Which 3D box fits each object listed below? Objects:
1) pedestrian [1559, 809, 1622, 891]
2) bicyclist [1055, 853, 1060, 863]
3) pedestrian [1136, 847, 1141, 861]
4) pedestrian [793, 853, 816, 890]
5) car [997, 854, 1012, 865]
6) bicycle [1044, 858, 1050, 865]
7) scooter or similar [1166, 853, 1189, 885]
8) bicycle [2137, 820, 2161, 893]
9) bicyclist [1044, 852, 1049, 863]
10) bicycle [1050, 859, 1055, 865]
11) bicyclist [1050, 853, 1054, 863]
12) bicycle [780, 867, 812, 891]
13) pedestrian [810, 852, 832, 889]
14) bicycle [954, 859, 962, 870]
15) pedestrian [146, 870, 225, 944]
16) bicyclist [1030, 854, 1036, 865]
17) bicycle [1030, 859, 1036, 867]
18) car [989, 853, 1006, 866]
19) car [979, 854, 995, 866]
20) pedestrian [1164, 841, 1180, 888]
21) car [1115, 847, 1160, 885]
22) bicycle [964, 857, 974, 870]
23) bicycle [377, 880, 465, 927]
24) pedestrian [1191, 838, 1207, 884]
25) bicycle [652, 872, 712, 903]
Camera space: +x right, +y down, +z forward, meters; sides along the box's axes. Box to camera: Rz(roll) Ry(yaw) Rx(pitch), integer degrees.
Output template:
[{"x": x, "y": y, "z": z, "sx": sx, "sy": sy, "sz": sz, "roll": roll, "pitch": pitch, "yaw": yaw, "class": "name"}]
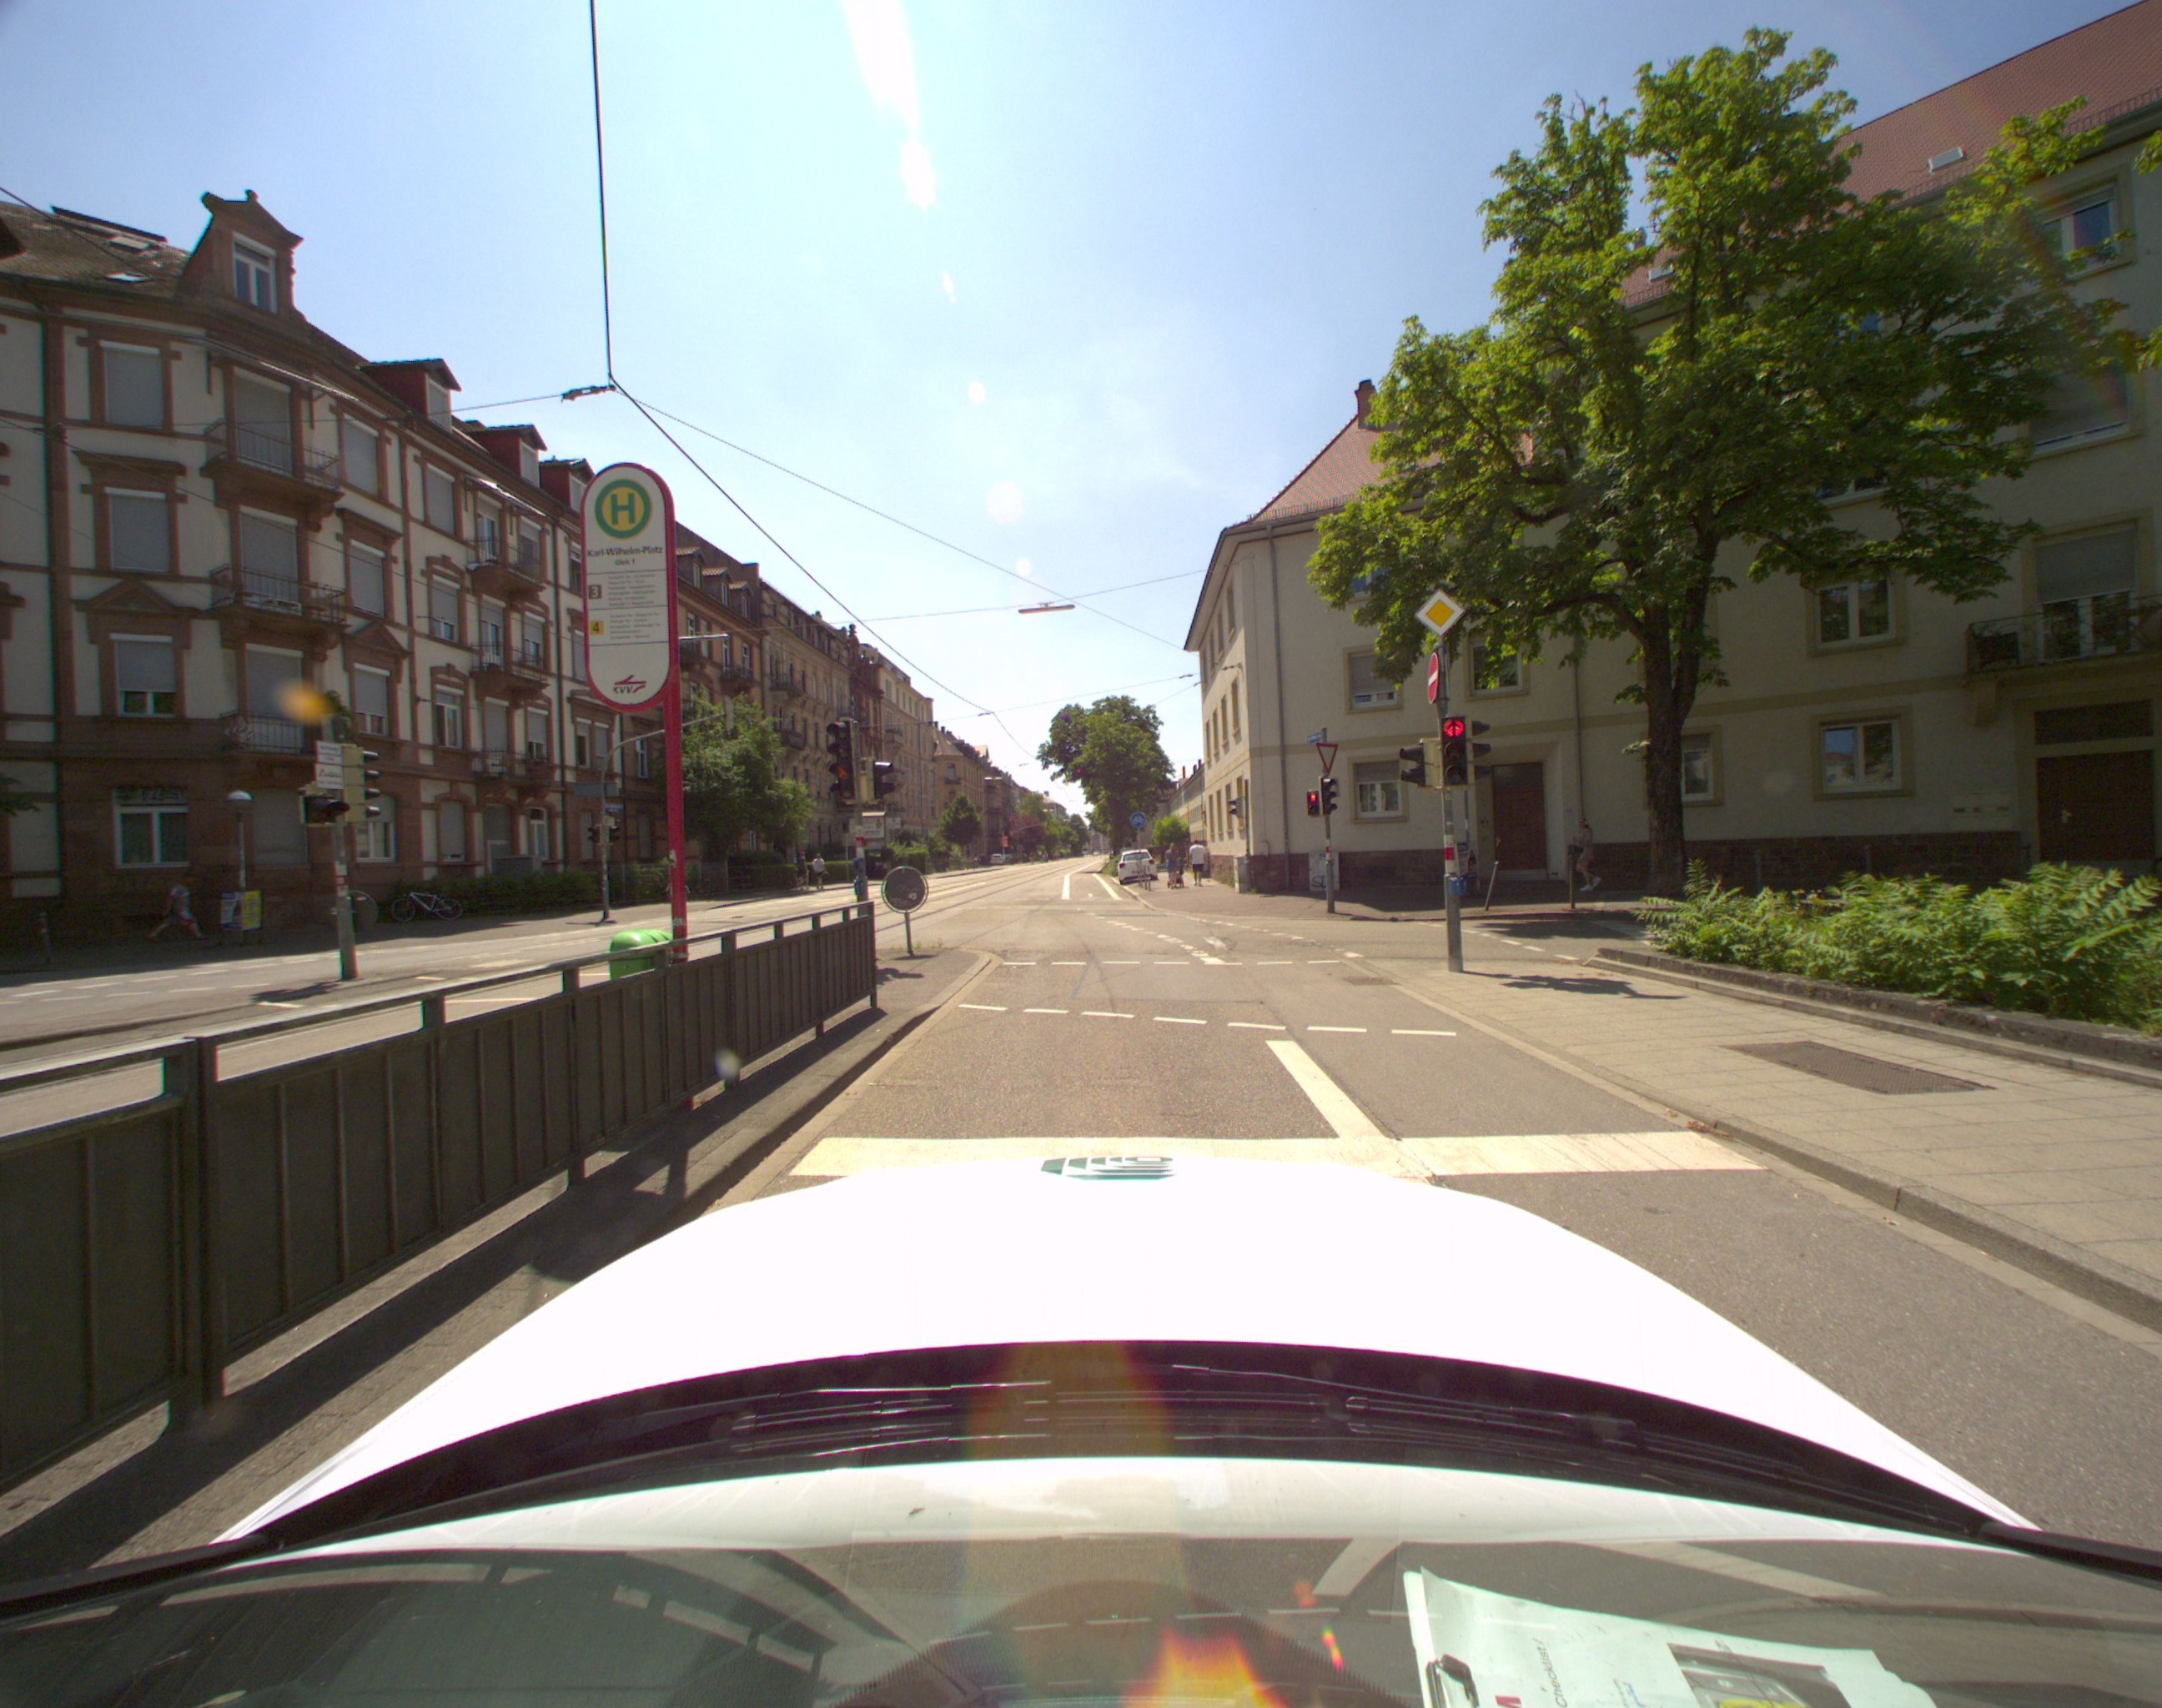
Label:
[{"x": 11.422, "y": -0.089, "z": 18.287, "sx": 1.043, "sy": 1.690, "sz": 0.658, "roll": -6, "pitch": 3, "yaw": 32, "class": "pedestrian"}, {"x": -4.505, "y": 0.738, "z": 157.037, "sx": 0.724, "sy": 1.818, "sz": 1.080, "roll": 0, "pitch": -1, "yaw": 3, "class": "bicyclist"}, {"x": 6.821, "y": 0.015, "z": 96.029, "sx": 0.519, "sy": 1.562, "sz": 0.573, "roll": -2, "pitch": 0, "yaw": 1, "class": "pedestrian"}, {"x": -13.856, "y": 0.855, "z": 40.800, "sx": 0.813, "sy": 1.822, "sz": 0.873, "roll": 0, "pitch": 1, "yaw": 0, "class": "pedestrian"}, {"x": -11.661, "y": 0.872, "z": 124.328, "sx": 1.912, "sy": 1.715, "sz": 4.001, "roll": 0, "pitch": -1, "yaw": 2, "class": "car"}, {"x": -5.653, "y": 1.298, "z": 134.926, "sx": 0.724, "sy": 1.123, "sz": 2.087, "roll": 0, "pitch": -1, "yaw": 4, "class": "bicycle"}, {"x": 3.566, "y": 0.535, "z": 30.027, "sx": 0.552, "sy": 1.155, "sz": 1.211, "roll": -1, "pitch": -1, "yaw": 20, "class": "scooter or similar"}, {"x": 17.009, "y": 0.022, "z": 12.082, "sx": 0.527, "sy": 1.104, "sz": 1.589, "roll": -2, "pitch": 0, "yaw": -34, "class": "bicycle"}, {"x": -5.651, "y": 0.604, "z": 135.017, "sx": 0.724, "sy": 1.768, "sz": 1.080, "roll": 0, "pitch": -1, "yaw": 3, "class": "bicyclist"}, {"x": -5.552, "y": 1.467, "z": 157.165, "sx": 0.724, "sy": 1.123, "sz": 2.087, "roll": 0, "pitch": -1, "yaw": 4, "class": "bicycle"}, {"x": -5.574, "y": 0.748, "z": 157.107, "sx": 0.724, "sy": 1.818, "sz": 1.080, "roll": 0, "pitch": -1, "yaw": 3, "class": "bicyclist"}, {"x": -14.392, "y": 1.255, "z": 41.255, "sx": 0.936, "sy": 1.136, "sz": 2.767, "roll": 0, "pitch": -1, "yaw": -7, "class": "bicycle"}, {"x": -13.042, "y": 0.843, "z": 40.895, "sx": 0.813, "sy": 1.822, "sz": 0.873, "roll": 0, "pitch": 1, "yaw": 0, "class": "pedestrian"}, {"x": -12.155, "y": 1.029, "z": 80.498, "sx": 0.677, "sy": 1.064, "sz": 1.912, "roll": -2, "pitch": 0, "yaw": -9, "class": "bicycle"}, {"x": -21.634, "y": 1.247, "z": 19.699, "sx": 1.064, "sy": 1.689, "sz": 0.716, "roll": -2, "pitch": 0, "yaw": -28, "class": "pedestrian"}, {"x": -7.047, "y": 0.790, "z": 119.472, "sx": 0.724, "sy": 1.629, "sz": 1.080, "roll": 0, "pitch": -1, "yaw": 3, "class": "bicyclist"}, {"x": -7.044, "y": 1.313, "z": 119.431, "sx": 0.724, "sy": 1.123, "sz": 2.087, "roll": 0, "pitch": -1, "yaw": 4, "class": "bicycle"}, {"x": -11.881, "y": 0.808, "z": 116.064, "sx": 1.912, "sy": 1.715, "sz": 4.001, "roll": 0, "pitch": -1, "yaw": 2, "class": "car"}, {"x": -14.333, "y": 0.893, "z": 124.466, "sx": 1.912, "sy": 1.715, "sz": 4.001, "roll": 0, "pitch": -1, "yaw": 2, "class": "car"}, {"x": 3.266, "y": 0.379, "z": 29.135, "sx": 0.553, "sy": 1.645, "sz": 0.678, "roll": -1, "pitch": -1, "yaw": 7, "class": "pedestrian"}, {"x": 2.524, "y": 0.531, "z": 37.408, "sx": 1.808, "sy": 1.516, "sz": 4.001, "roll": -4, "pitch": -1, "yaw": 2, "class": "car"}, {"x": -11.711, "y": 0.955, "z": 85.135, "sx": 0.675, "sy": 1.278, "sz": 1.918, "roll": -2, "pitch": 0, "yaw": -1, "class": "bicycle"}, {"x": -19.556, "y": 1.438, "z": 24.159, "sx": 0.557, "sy": 1.294, "sz": 1.975, "roll": -1, "pitch": -1, "yaw": 43, "class": "bicycle"}, {"x": 4.240, "y": 0.244, "z": 29.370, "sx": 0.553, "sy": 1.645, "sz": 0.678, "roll": -1, "pitch": -1, "yaw": 7, "class": "pedestrian"}, {"x": -15.671, "y": 1.301, "z": 32.081, "sx": 0.934, "sy": 1.136, "sz": 2.774, "roll": 0, "pitch": -1, "yaw": 1, "class": "bicycle"}]
